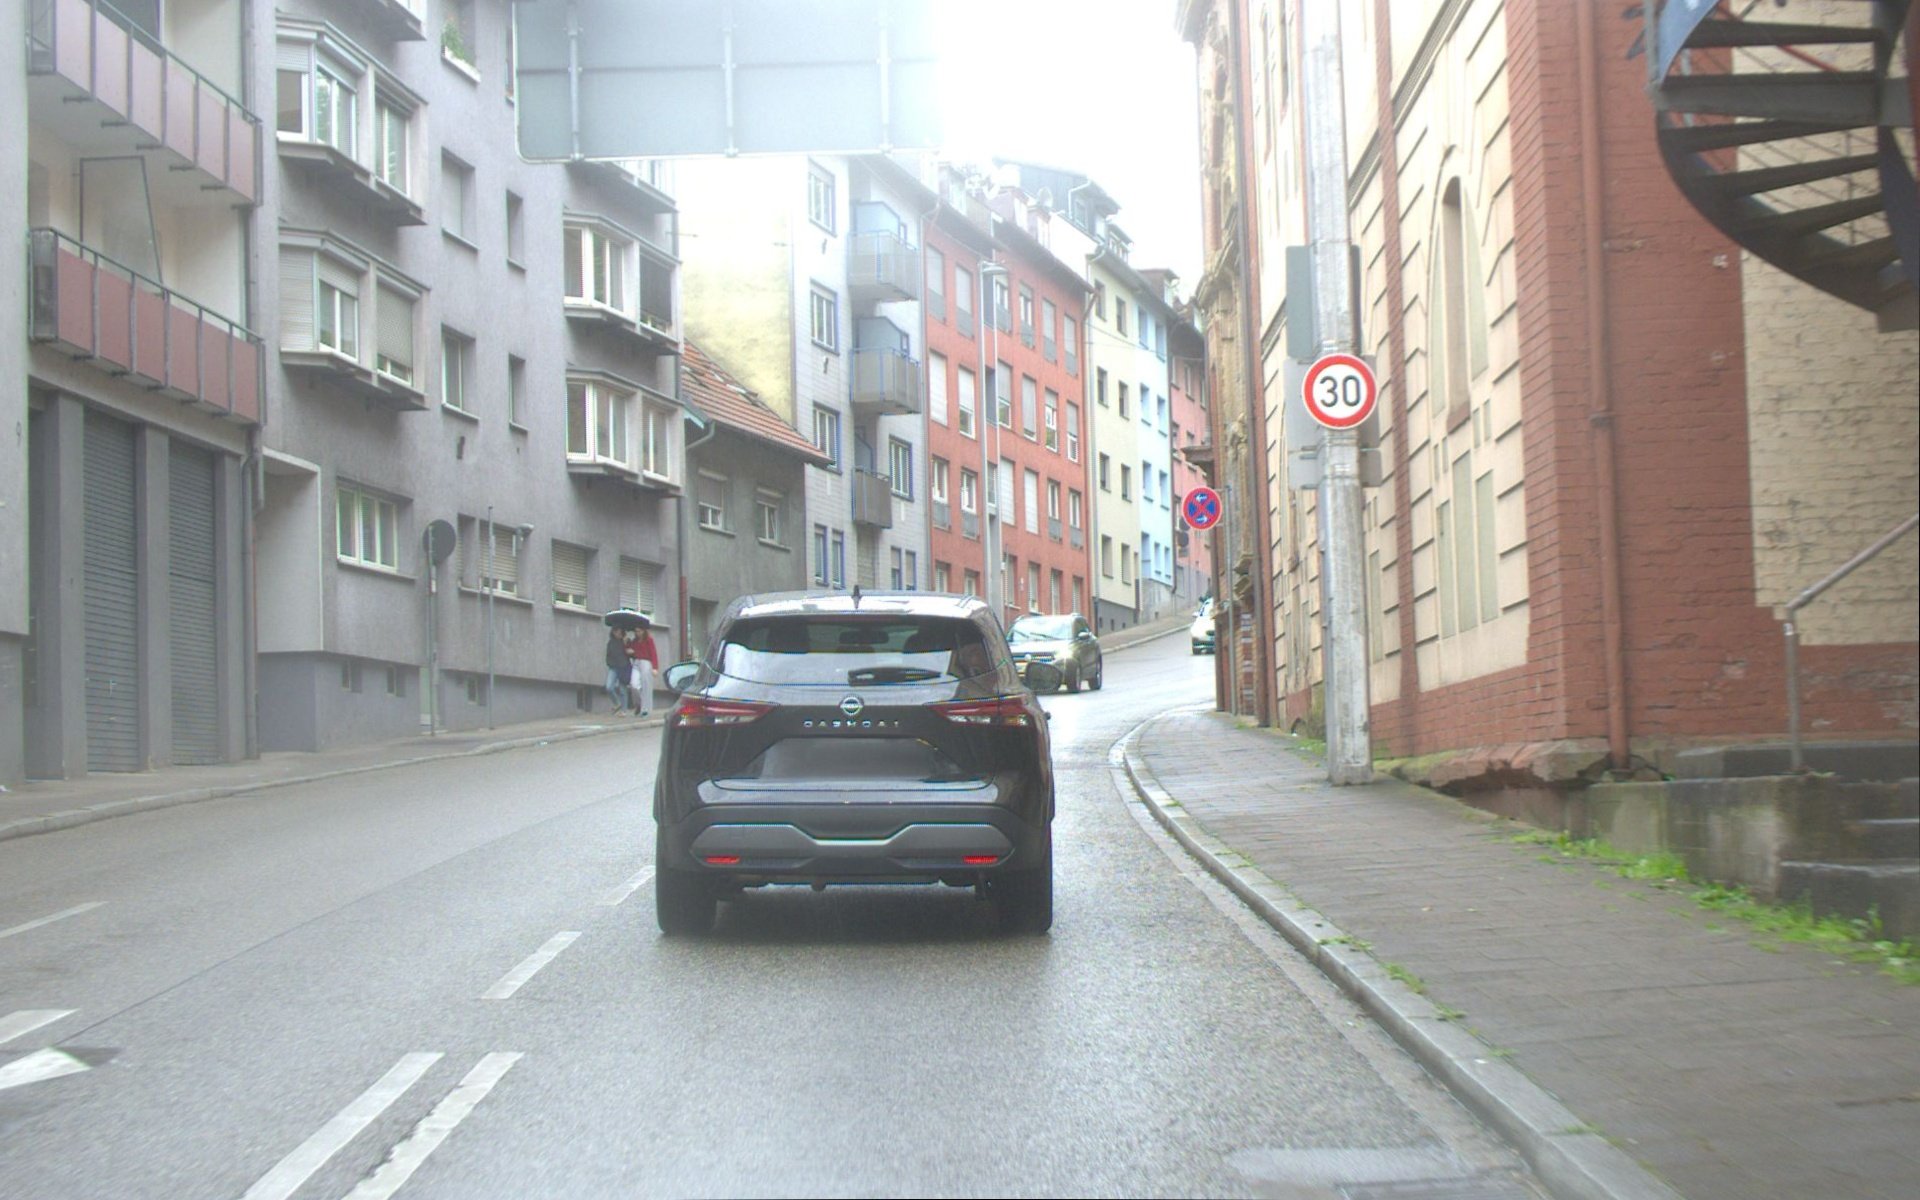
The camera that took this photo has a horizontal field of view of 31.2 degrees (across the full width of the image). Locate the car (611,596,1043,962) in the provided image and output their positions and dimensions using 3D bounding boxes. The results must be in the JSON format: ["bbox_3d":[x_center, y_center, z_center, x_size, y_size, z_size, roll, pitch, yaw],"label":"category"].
[{"bbox_3d":[-0.630,0.814,16.992,1.881,1.588,3.921,0,-1,-1],"label":"car"}]

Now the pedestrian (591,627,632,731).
[{"bbox_3d":[-6.039,1.371,59.644,0.523,1.770,0.622,-2,0,6],"label":"pedestrian"}]

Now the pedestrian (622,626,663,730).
[{"bbox_3d":[-5.499,1.355,59.579,0.523,1.770,0.622,-2,0,6],"label":"pedestrian"}]

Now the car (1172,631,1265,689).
[{"bbox_3d":[7.431,1.704,98.462,1.765,1.571,4.033,-2,-1,17],"label":"car"}]

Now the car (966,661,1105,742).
[{"bbox_3d":[1.532,2.041,68.274,1.795,1.505,3.996,-2,-3,15],"label":"car"}]
